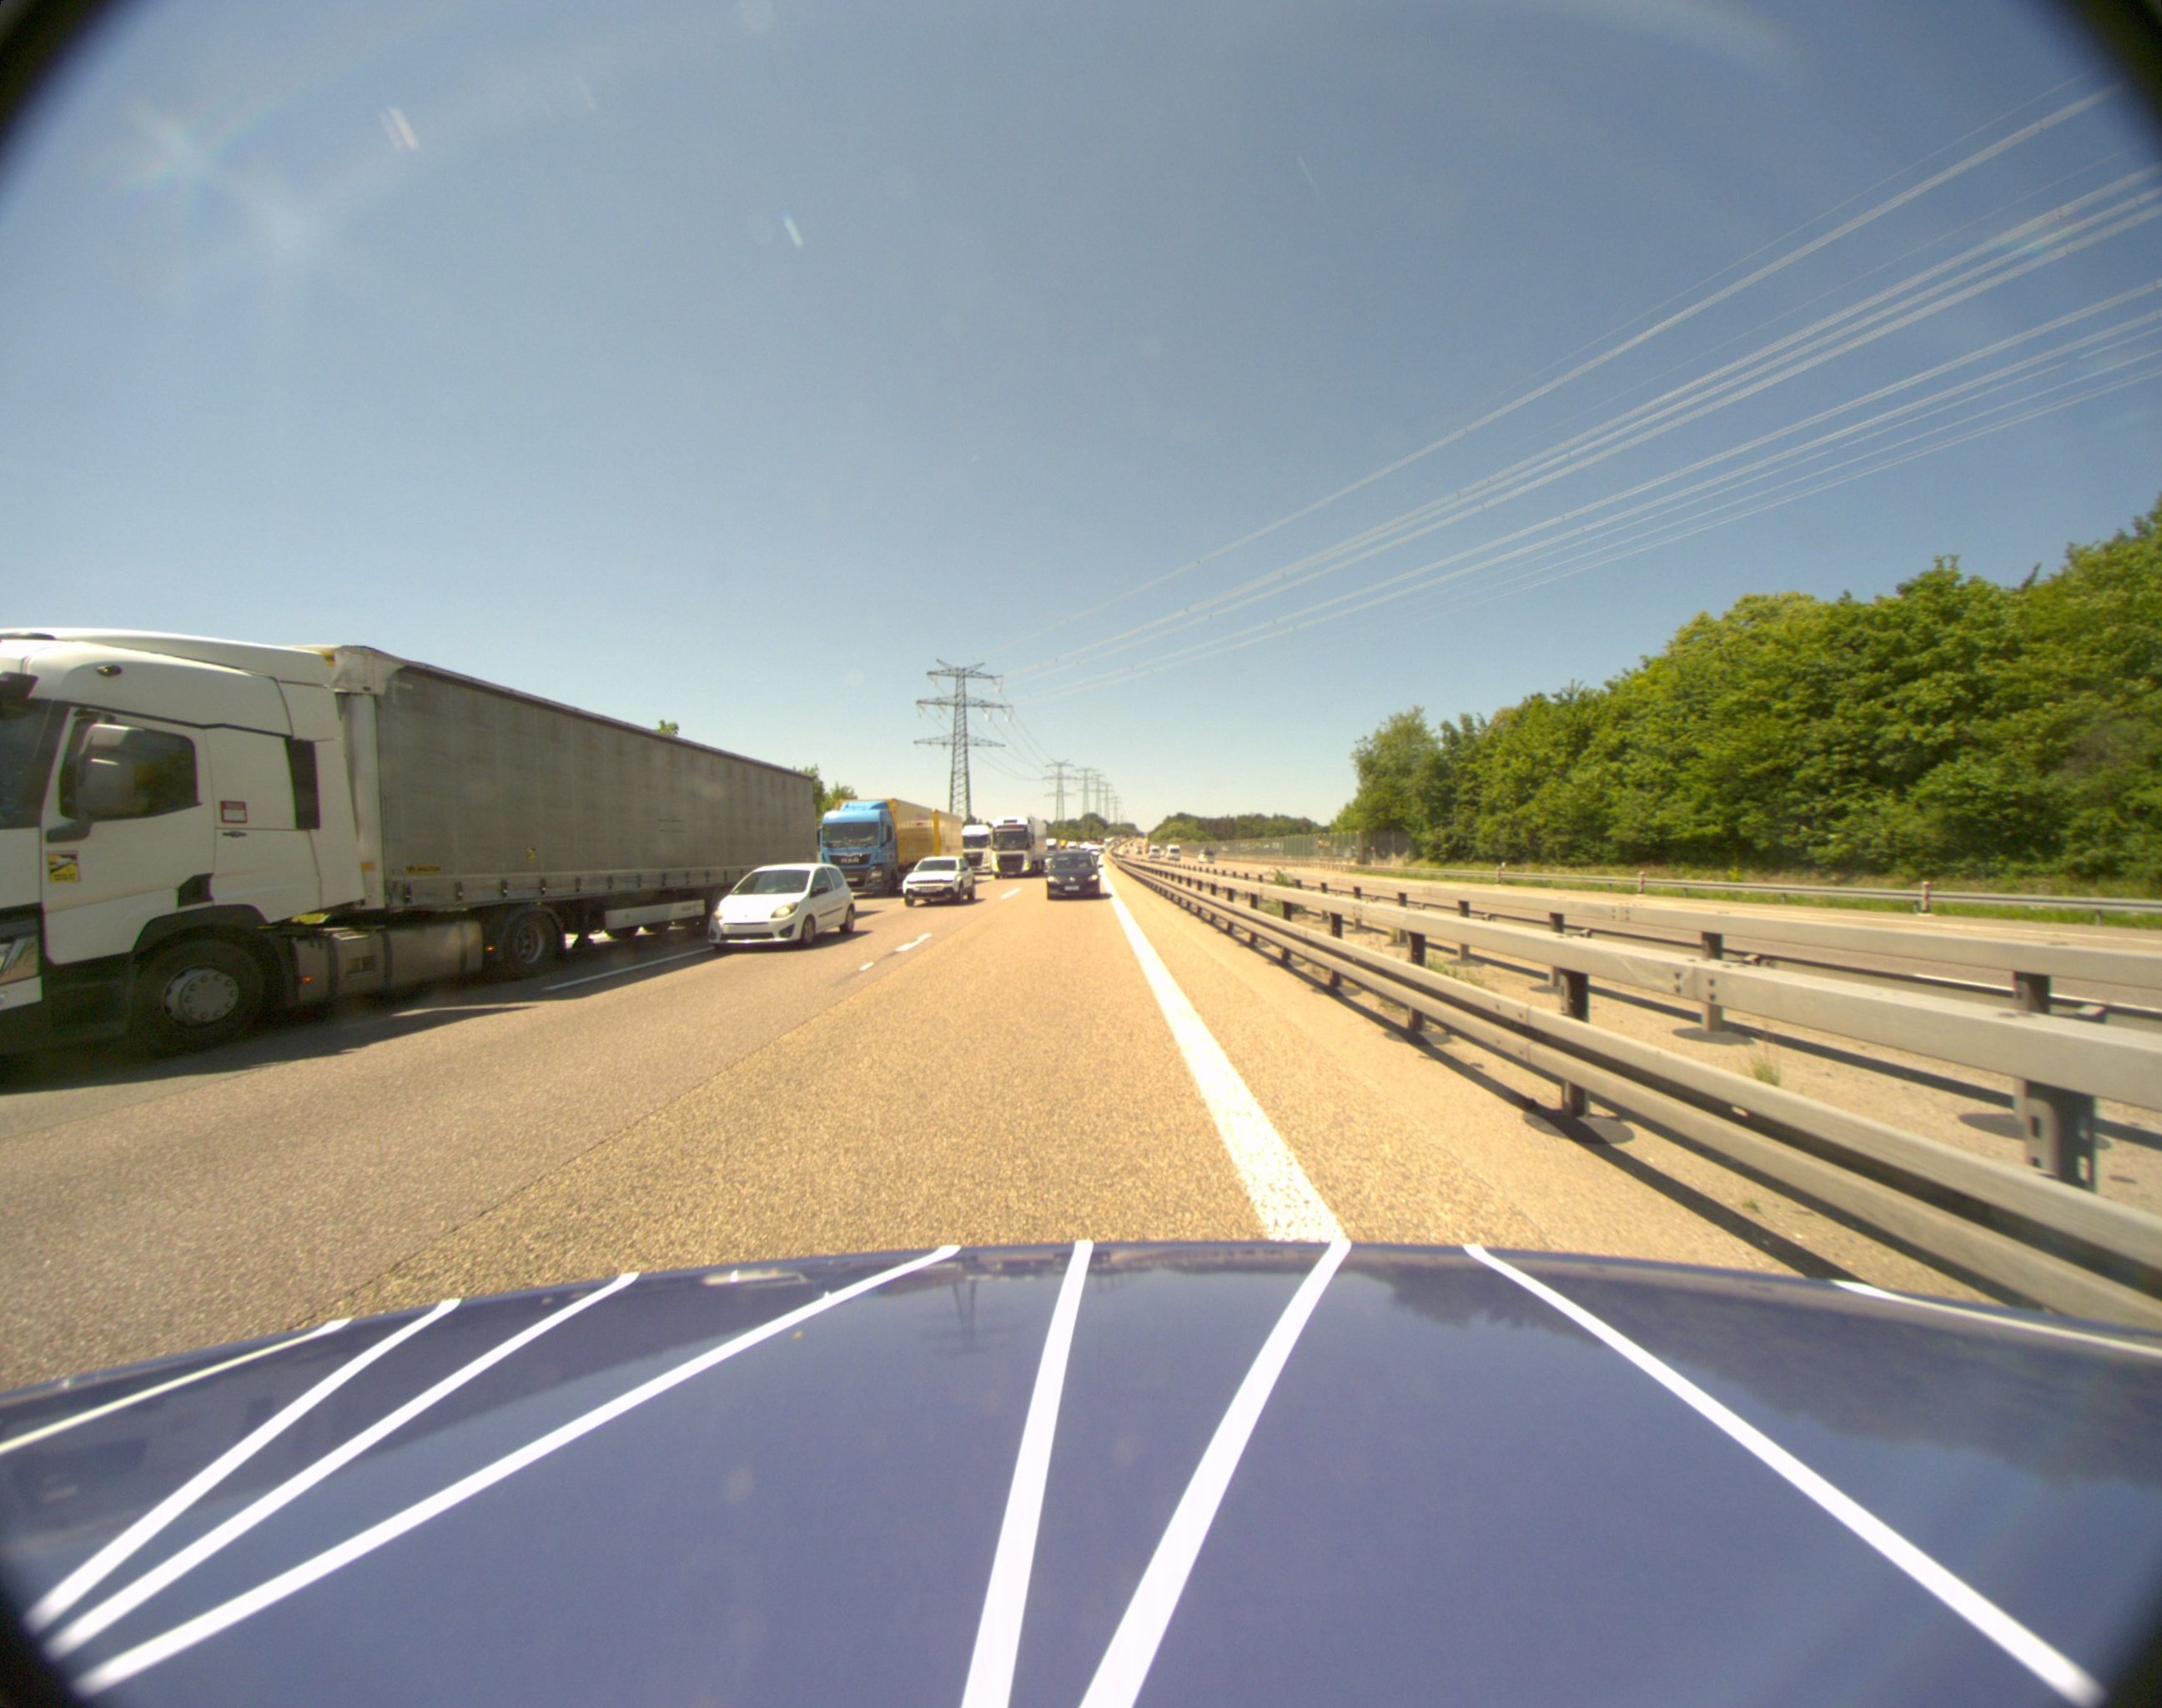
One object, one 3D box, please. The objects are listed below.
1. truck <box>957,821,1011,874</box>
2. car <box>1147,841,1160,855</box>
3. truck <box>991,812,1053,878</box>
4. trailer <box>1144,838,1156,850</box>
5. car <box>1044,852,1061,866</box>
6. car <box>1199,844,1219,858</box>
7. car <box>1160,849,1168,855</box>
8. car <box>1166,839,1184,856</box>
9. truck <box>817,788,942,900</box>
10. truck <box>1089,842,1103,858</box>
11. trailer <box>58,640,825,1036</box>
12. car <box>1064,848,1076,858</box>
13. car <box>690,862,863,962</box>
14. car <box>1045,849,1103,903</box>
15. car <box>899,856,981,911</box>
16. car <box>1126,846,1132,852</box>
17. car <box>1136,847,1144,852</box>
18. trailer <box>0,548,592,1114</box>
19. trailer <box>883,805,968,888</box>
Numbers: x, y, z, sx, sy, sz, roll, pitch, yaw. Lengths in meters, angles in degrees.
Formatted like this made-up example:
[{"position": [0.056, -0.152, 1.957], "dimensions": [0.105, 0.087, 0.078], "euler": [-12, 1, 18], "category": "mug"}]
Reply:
[{"position": [-7.849, -0.559, 63.037], "dimensions": [2.695, 3.908, 11.296], "euler": [-2, 1, 1], "category": "truck"}, {"position": [14.858, -1.314, 156.014], "dimensions": [2.058, 2.636, 5.837], "euler": [3, 1, -1], "category": "car"}, {"position": [-3.954, -0.625, 54.634], "dimensions": [2.717, 4.015, 14.256], "euler": [-2, 0, 2], "category": "truck"}, {"position": [23.427, -3.274, 258.235], "dimensions": [2.770, 3.953, 14.681], "euler": [1, 0, 1], "category": "trailer"}, {"position": [-3.467, 0.544, 93.175], "dimensions": [1.821, 1.569, 3.999], "euler": [-2, 1, 1], "category": "car"}, {"position": [18.995, -0.464, 113.012], "dimensions": [1.869, 1.894, 5.491], "euler": [1, 1, -1], "category": "car"}, {"position": [21.268, -0.467, 193.968], "dimensions": [1.689, 1.447, 4.345], "euler": [1, 1, 1], "category": "car"}, {"position": [15.220, -1.080, 123.571], "dimensions": [2.161, 2.579, 5.889], "euler": [0, 1, 0], "category": "car"}, {"position": [-8.419, -0.366, 33.316], "dimensions": [2.772, 4.085, 9.952], "euler": [-2, 0, 0], "category": "truck"}, {"position": [2.711, -0.810, 137.699], "dimensions": [2.309, 2.789, 5.109], "euler": [-2, 1, 2], "category": "truck"}, {"position": [-8.987, -0.178, 14.797], "dimensions": [2.970, 4.026, 13.752], "euler": [-2, 0, 1], "category": "trailer"}, {"position": [-1.896, -0.203, 130.780], "dimensions": [1.821, 1.569, 3.999], "euler": [-2, 1, 1], "category": "car"}, {"position": [-5.505, 0.966, 14.282], "dimensions": [1.659, 1.502, 3.825], "euler": [-1, 1, 0], "category": "car"}, {"position": [-0.154, 0.685, 26.039], "dimensions": [1.748, 1.569, 4.000], "euler": [-2, 1, 2], "category": "car"}, {"position": [-4.523, 0.884, 24.856], "dimensions": [1.776, 1.521, 3.851], "euler": [-2, 1, 2], "category": "car"}, {"position": [16.347, -1.726, 260.404], "dimensions": [1.778, 1.621, 3.950], "euler": [-2, 1, 0], "category": "car"}, {"position": [18.630, -1.460, 239.717], "dimensions": [1.881, 1.438, 4.144], "euler": [-3, 1, 0], "category": "car"}, {"position": [-9.084, -0.140, 8.428], "dimensions": [2.931, 4.020, 6.410], "euler": [-2, 0, 1], "category": "trailer"}, {"position": [-8.482, -0.378, 42.826], "dimensions": [2.772, 4.093, 9.376], "euler": [-2, 0, 0], "category": "trailer"}]
